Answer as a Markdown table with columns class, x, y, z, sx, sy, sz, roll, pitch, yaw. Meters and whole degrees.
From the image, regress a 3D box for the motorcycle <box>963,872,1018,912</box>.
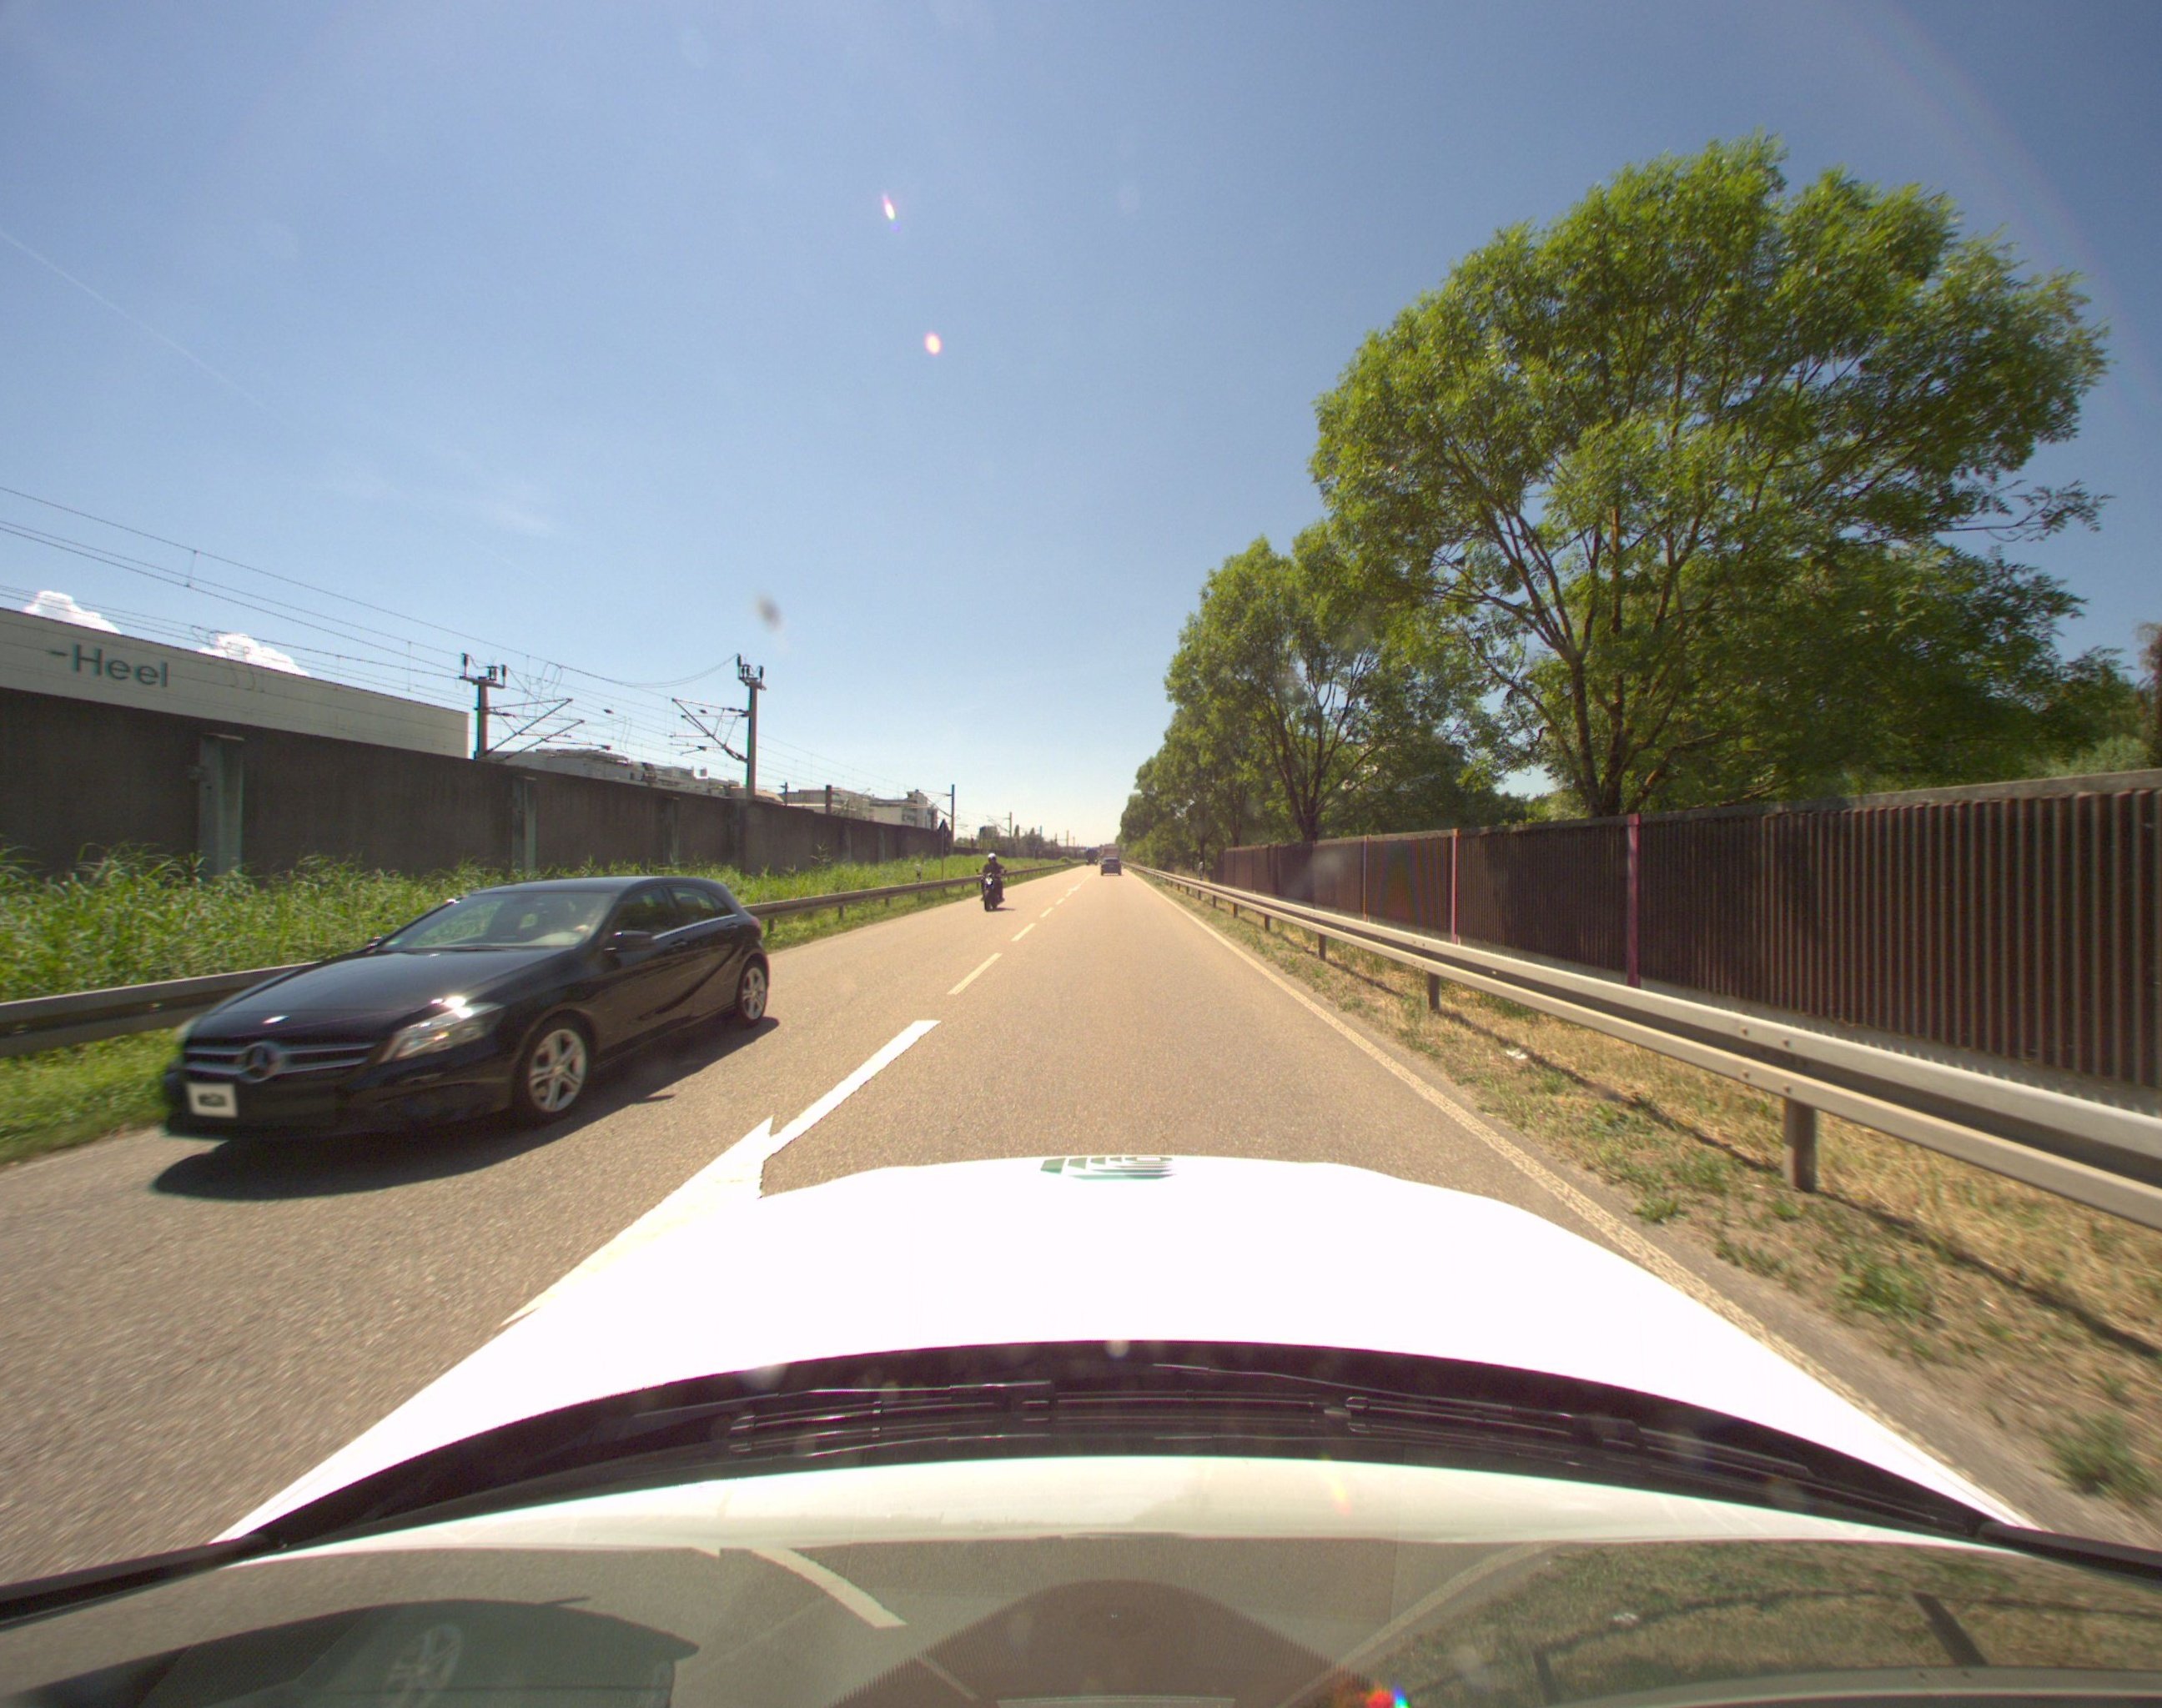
| class | x | y | z | sx | sy | sz | roll | pitch | yaw |
| --- | --- | --- | --- | --- | --- | --- | --- | --- | --- |
| motorcycle | -2.701 | 1.119 | 24.815 | 1.232 | 1.072 | 3.130 | -1 | 0 | 2 |

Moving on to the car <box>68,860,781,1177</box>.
| class | x | y | z | sx | sy | sz | roll | pitch | yaw |
| --- | --- | --- | --- | --- | --- | --- | --- | --- | --- |
| car | -3.999 | 0.828 | 6.044 | 1.987 | 1.508 | 4.000 | -2 | 0 | 0 |

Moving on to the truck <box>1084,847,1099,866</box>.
| class | x | y | z | sx | sy | sz | roll | pitch | yaw |
| --- | --- | --- | --- | --- | --- | --- | --- | --- | --- |
| truck | 2.376 | 0.494 | 179.354 | 2.786 | 3.978 | 10.504 | -3 | 0 | 2 |

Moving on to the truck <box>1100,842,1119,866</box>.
| class | x | y | z | sx | sy | sz | roll | pitch | yaw |
| --- | --- | --- | --- | --- | --- | --- | --- | --- | --- |
| truck | 4.244 | 0.054 | 120.812 | 2.759 | 3.425 | 10.824 | 0 | -1 | 2 |

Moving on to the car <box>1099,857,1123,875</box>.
| class | x | y | z | sx | sy | sz | roll | pitch | yaw |
| --- | --- | --- | --- | --- | --- | --- | --- | --- | --- |
| car | 2.608 | 1.053 | 72.020 | 1.987 | 1.508 | 3.999 | -1 | 0 | 0 |

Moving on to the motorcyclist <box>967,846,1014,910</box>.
| class | x | y | z | sx | sy | sz | roll | pitch | yaw |
| --- | --- | --- | --- | --- | --- | --- | --- | --- | --- |
| motorcyclist | -2.722 | 0.713 | 24.677 | 1.249 | 1.864 | 1.246 | -1 | -1 | 1 |
